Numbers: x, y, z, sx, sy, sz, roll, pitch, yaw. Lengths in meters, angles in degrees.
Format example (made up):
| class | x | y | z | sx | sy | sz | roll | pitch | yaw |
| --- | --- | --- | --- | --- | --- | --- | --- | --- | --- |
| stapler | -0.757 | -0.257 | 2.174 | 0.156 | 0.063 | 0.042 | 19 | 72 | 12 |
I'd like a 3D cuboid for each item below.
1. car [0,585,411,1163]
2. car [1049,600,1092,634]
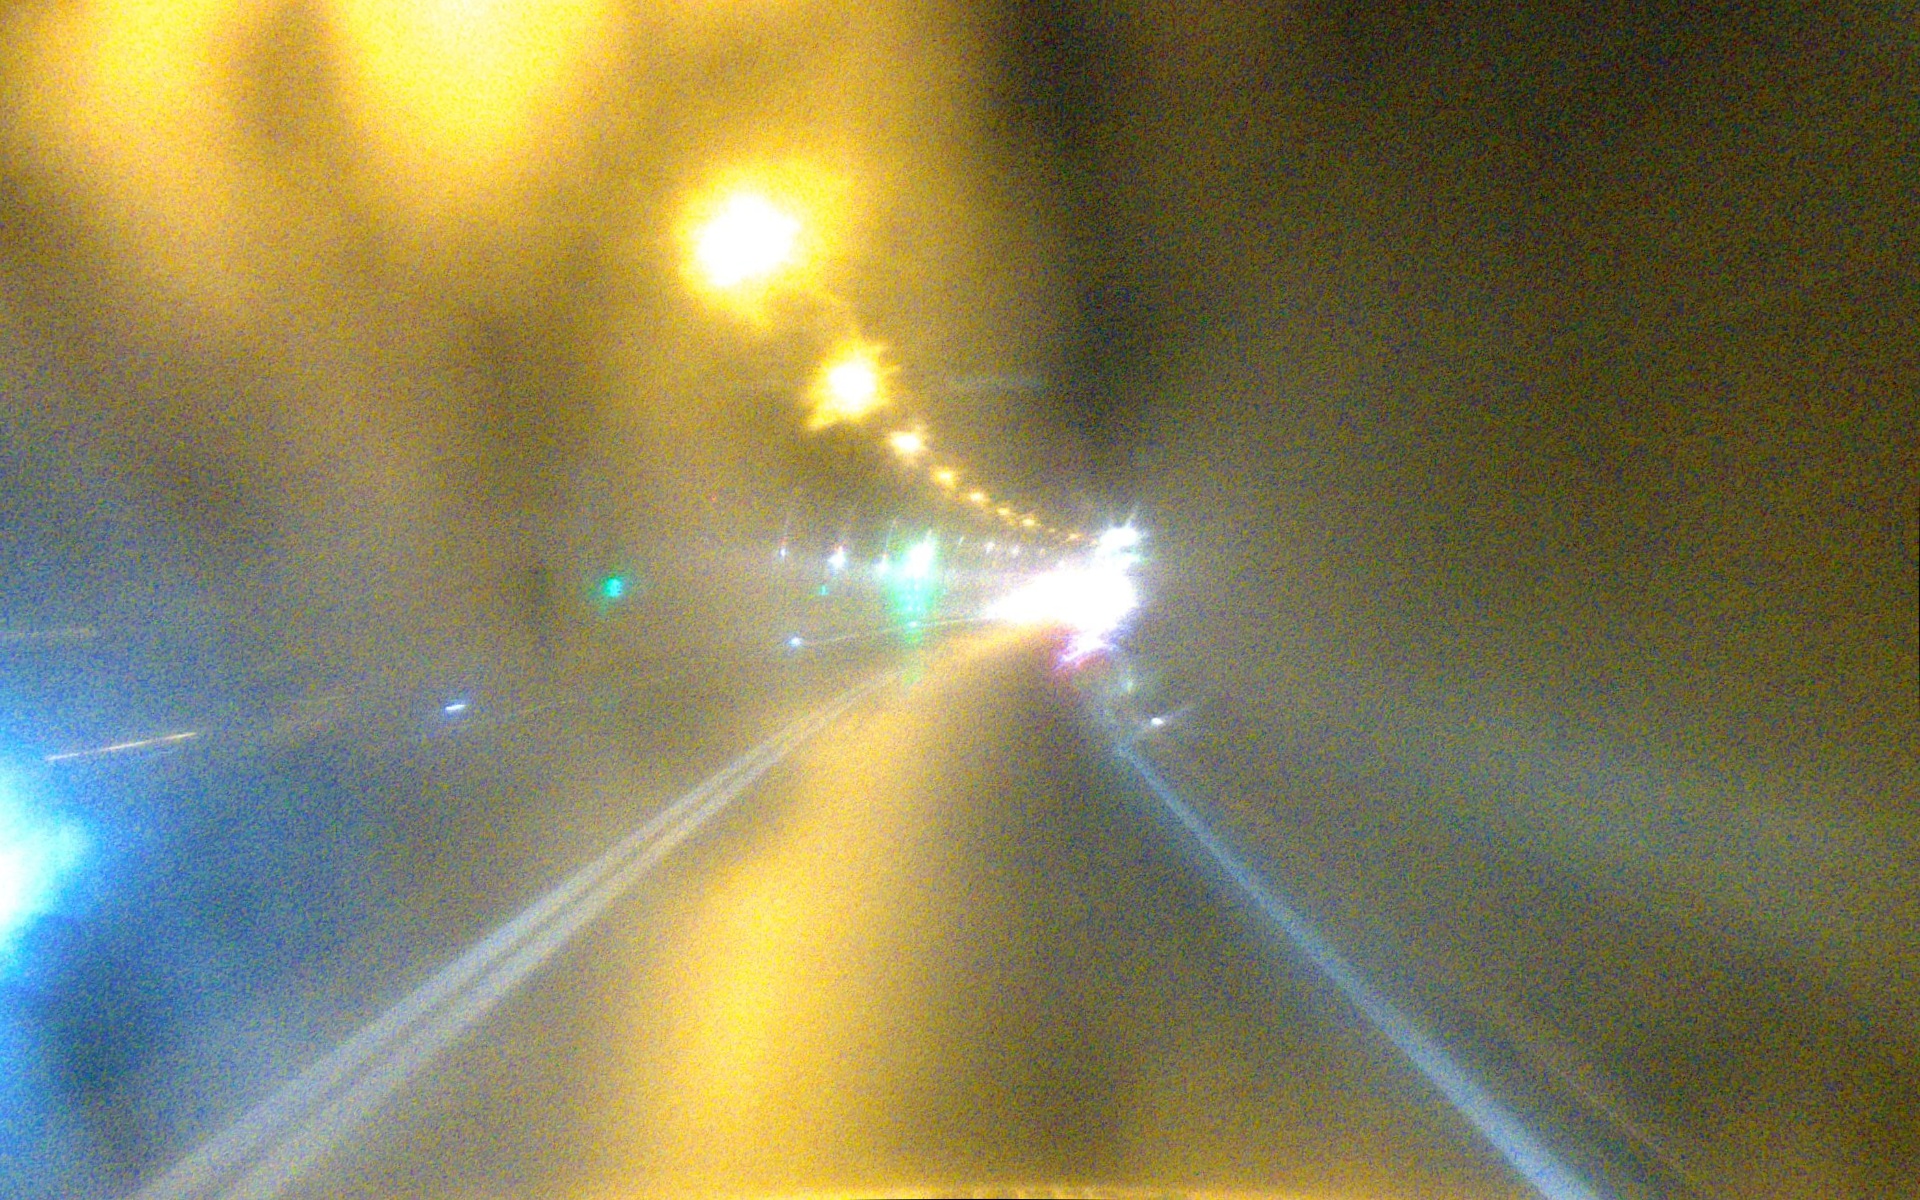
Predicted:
| class | x | y | z | sx | sy | sz | roll | pitch | yaw |
| --- | --- | --- | --- | --- | --- | --- | --- | --- | --- |
| car | -3.182 | 0.666 | 5.230 | 1.596 | 1.422 | 3.999 | 1 | 0 | -1 |
| car | 5.707 | 0.860 | 85.182 | 1.951 | 1.679 | 4.003 | 1 | 0 | 8 |
